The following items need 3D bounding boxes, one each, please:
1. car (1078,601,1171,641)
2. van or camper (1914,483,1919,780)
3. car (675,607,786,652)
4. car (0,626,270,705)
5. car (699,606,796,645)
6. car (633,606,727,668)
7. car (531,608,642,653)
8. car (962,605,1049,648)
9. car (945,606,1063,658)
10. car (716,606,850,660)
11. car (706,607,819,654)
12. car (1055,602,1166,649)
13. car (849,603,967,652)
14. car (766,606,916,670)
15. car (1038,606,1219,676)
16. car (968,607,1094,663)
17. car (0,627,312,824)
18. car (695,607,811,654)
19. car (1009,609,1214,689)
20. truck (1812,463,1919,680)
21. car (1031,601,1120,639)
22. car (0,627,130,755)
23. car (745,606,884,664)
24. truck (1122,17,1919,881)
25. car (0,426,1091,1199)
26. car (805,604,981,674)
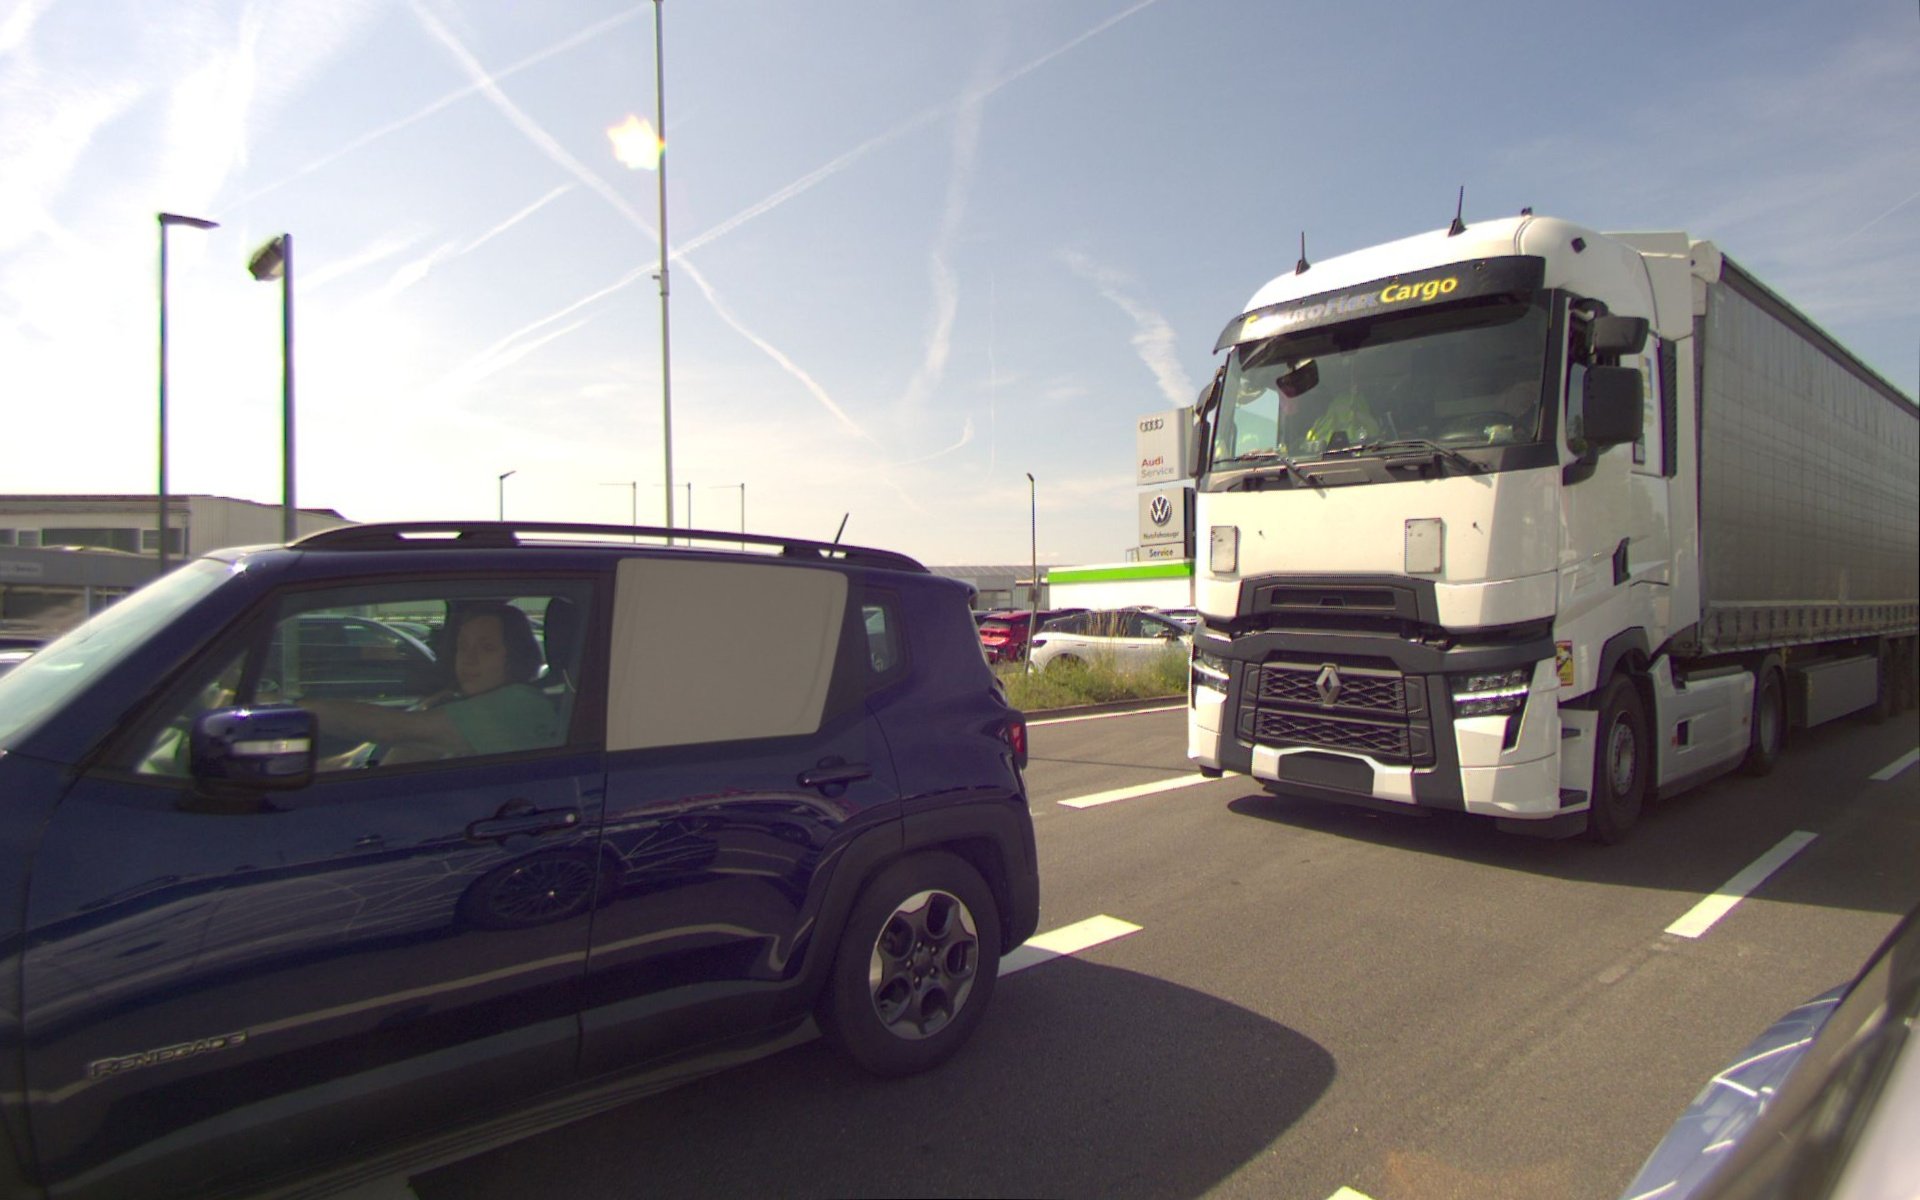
[{"bbox_3d":[6.979,0.852,42.729,3.930,1.594,1.787,0,0,-41],"label":"car"},{"bbox_3d":[7.015,0.482,5.474,5.194,2.039,1.998,0,-1,-39],"label":"van or camper"},{"bbox_3d":[-9.011,1.114,39.831,3.895,1.638,1.708,0,0,-37],"label":"car"},{"bbox_3d":[-17.818,1.366,22.116,4.143,1.526,1.987,0,-1,-20],"label":"car"},{"bbox_3d":[-9.445,1.112,45.082,3.895,1.638,1.708,0,0,-37],"label":"car"},{"bbox_3d":[-8.136,1.003,29.184,1.959,1.638,4.006,0,0,-26],"label":"car"},{"bbox_3d":[-15.442,1.234,42.010,4.143,1.777,1.911,0,-1,-14],"label":"car"},{"bbox_3d":[1.832,1.035,41.599,1.721,1.672,3.651,0,-1,-35],"label":"car"},{"bbox_3d":[1.409,0.963,31.670,3.530,1.426,1.562,-1,2,-39],"label":"car"},{"bbox_3d":[-5.667,1.009,32.584,3.895,1.638,1.708,0,0,-37],"label":"car"},{"bbox_3d":[-6.793,1.013,35.001,3.530,1.426,1.562,-1,2,-39],"label":"car"},{"bbox_3d":[5.531,0.902,37.617,1.757,1.594,3.997,0,0,-38],"label":"car"},{"bbox_3d":[-1.813,0.918,35.951,3.894,1.638,1.709,0,0,-36],"label":"car"},{"bbox_3d":[-3.298,1.008,28.278,3.756,1.638,1.857,0,0,-37],"label":"car"},{"bbox_3d":[3.700,0.851,22.219,3.623,1.420,1.725,0,0,24],"label":"car"},{"bbox_3d":[2.086,0.961,29.383,3.530,1.426,1.562,-1,2,-39],"label":"car"},{"bbox_3d":[-8.099,0.985,9.086,3.983,1.420,1.728,0,0,18],"label":"car"},{"bbox_3d":[-7.680,1.094,37.659,3.895,1.638,1.708,0,0,-37],"label":"car"},{"bbox_3d":[2.938,0.888,19.556,3.623,1.420,1.725,0,0,24],"label":"car"},{"bbox_3d":[21.300,-0.533,21.394,10.938,3.859,2.886,0,0,-38],"label":"truck"},{"bbox_3d":[5.203,0.867,45.208,3.930,1.594,1.787,0,0,-41],"label":"car"},{"bbox_3d":[-14.829,1.331,14.782,4.157,1.777,1.905,0,-1,-40],"label":"car"},{"bbox_3d":[-4.407,1.007,30.893,3.895,1.638,1.708,0,0,-37],"label":"car"},{"bbox_3d":[8.431,-0.802,11.379,16.408,4.320,2.896,0,0,-39],"label":"truck"},{"bbox_3d":[-1.620,0.546,2.900,3.930,1.706,1.822,0,1,-41],"label":"car"},{"bbox_3d":[-1.703,0.943,26.373,4.202,1.678,1.999,0,0,-37],"label":"car"}]
